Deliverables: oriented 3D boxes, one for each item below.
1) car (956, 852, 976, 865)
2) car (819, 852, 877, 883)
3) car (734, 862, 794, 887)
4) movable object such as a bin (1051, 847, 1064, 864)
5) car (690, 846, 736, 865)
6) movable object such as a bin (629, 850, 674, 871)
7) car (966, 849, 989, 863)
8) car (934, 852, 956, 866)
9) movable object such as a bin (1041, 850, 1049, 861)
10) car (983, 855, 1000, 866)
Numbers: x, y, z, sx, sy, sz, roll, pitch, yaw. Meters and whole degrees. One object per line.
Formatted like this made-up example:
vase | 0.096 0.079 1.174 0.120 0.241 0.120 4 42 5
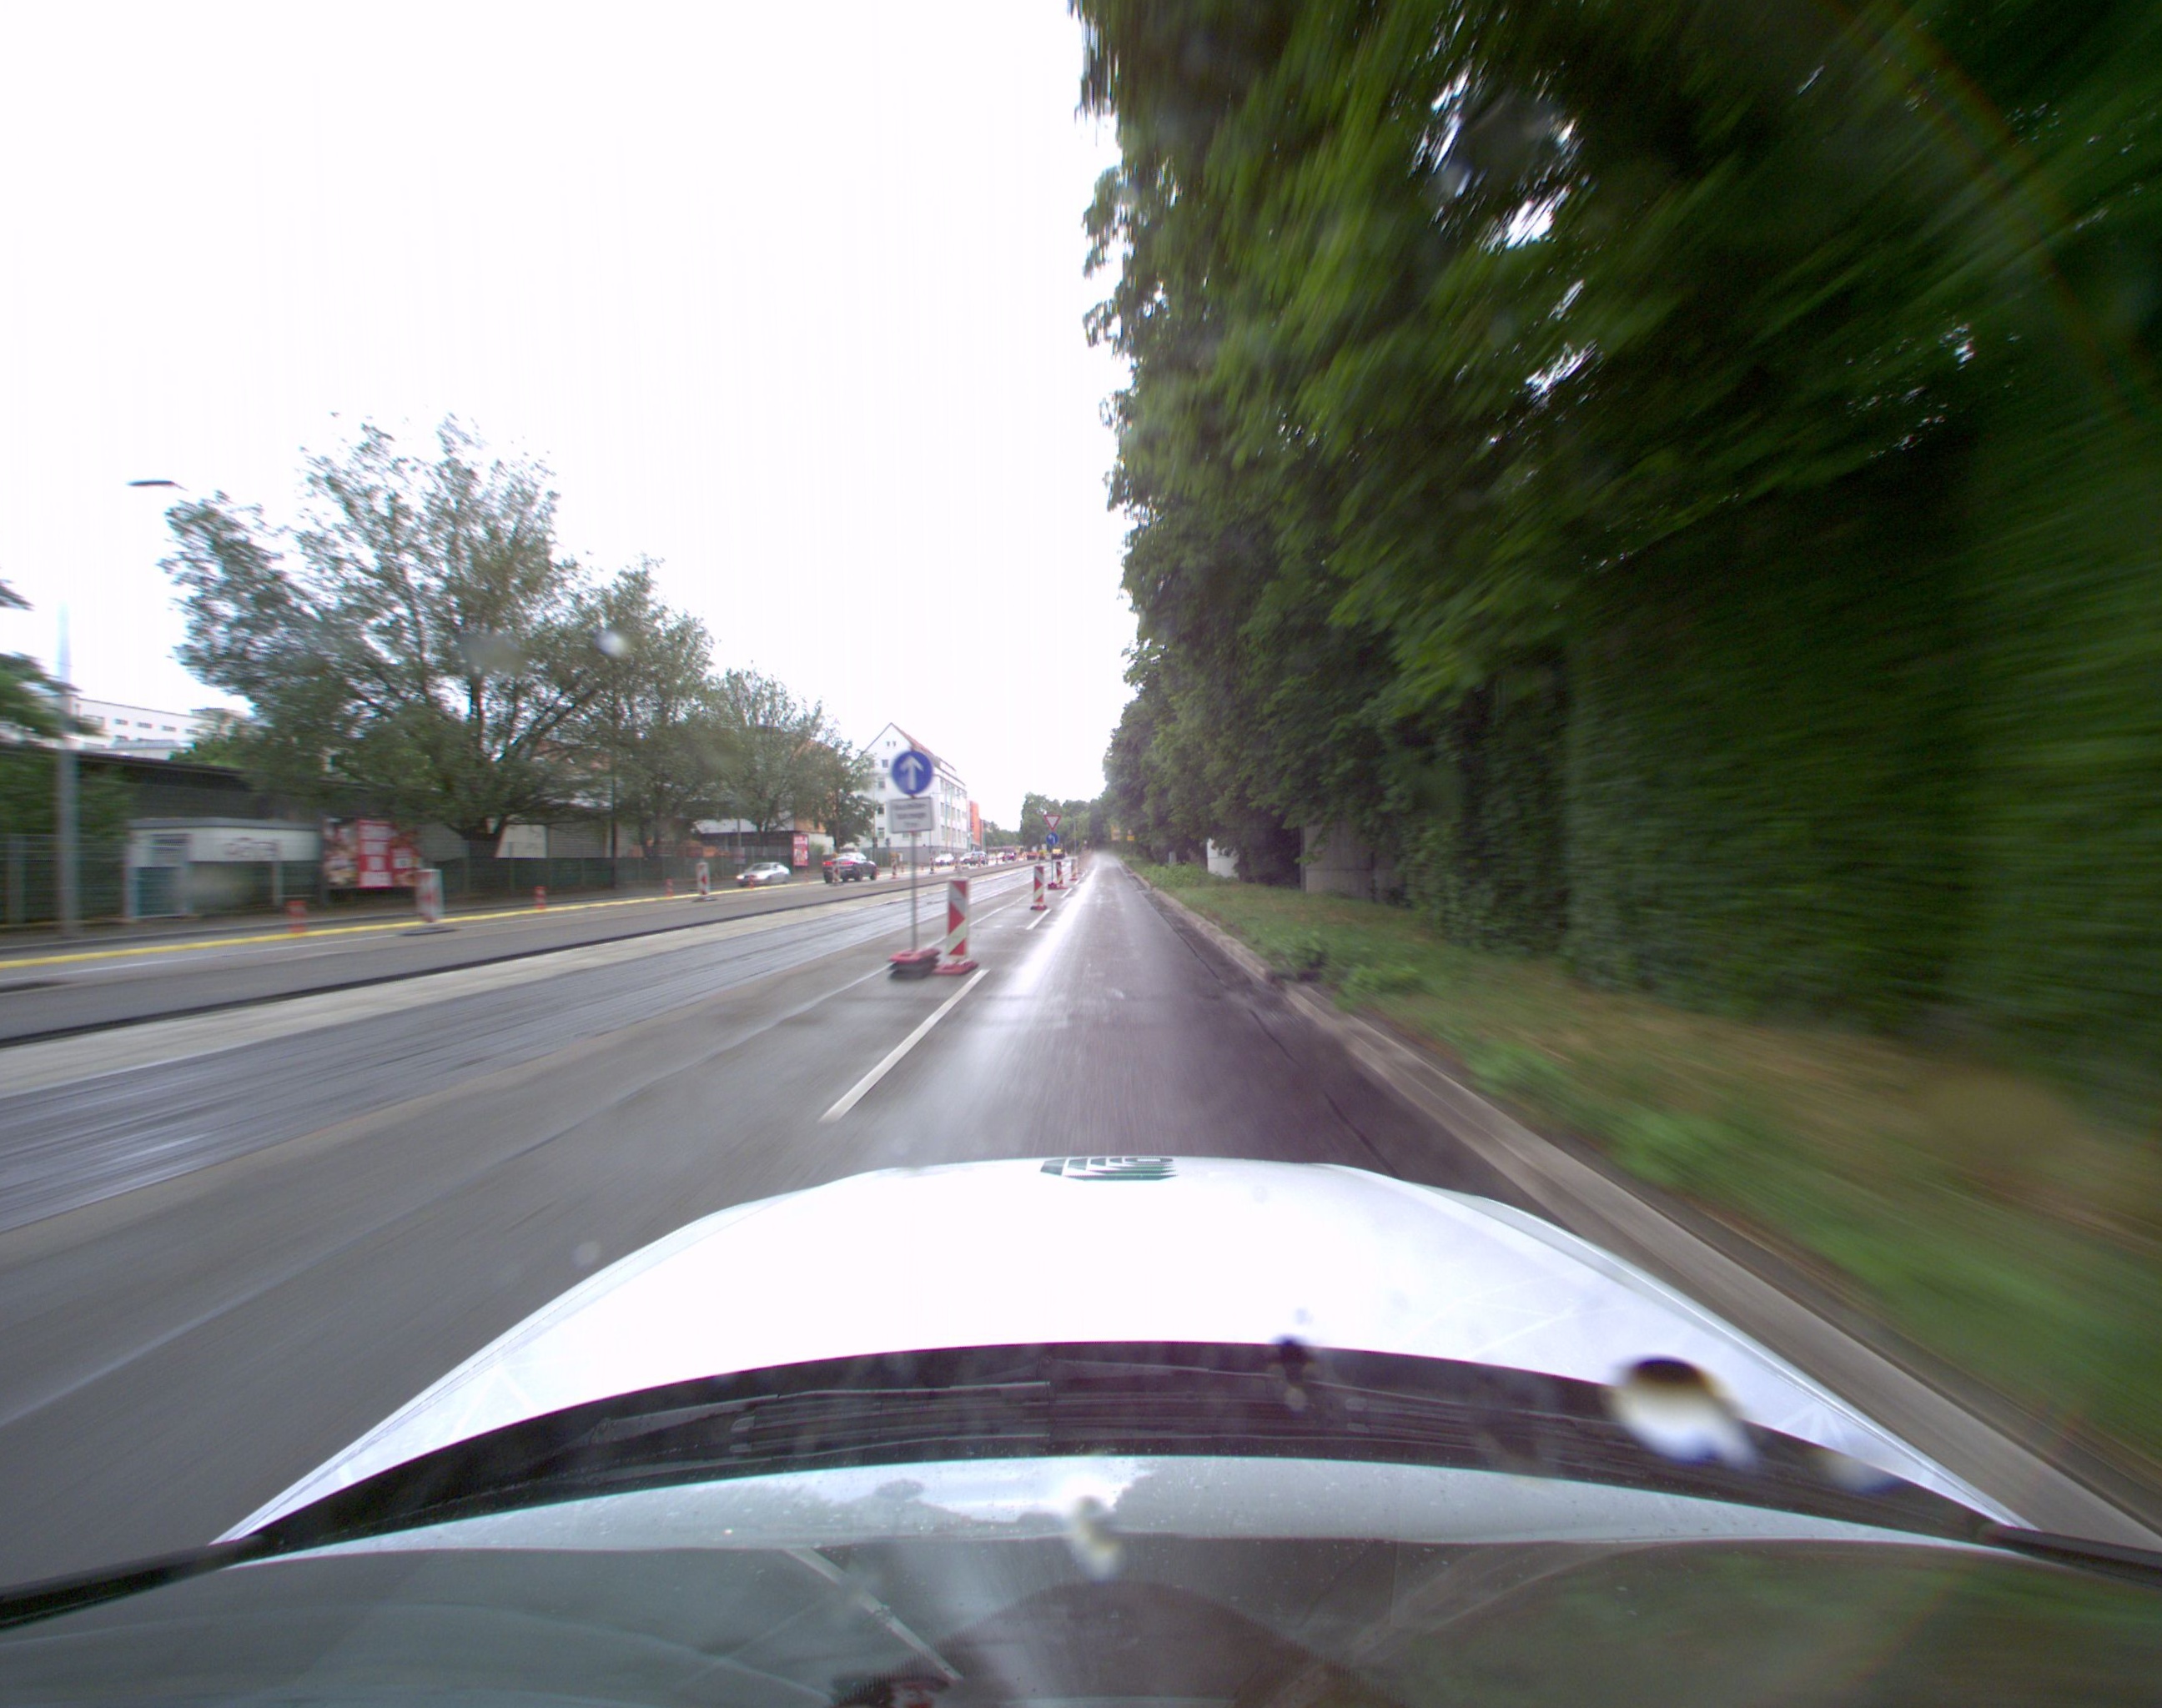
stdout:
car | -15.489 0.651 110.168 1.852 1.619 4.367 -4 0 2
car | -13.397 0.757 47.098 1.885 1.650 4.398 -1 0 2
car | -19.017 1.214 49.031 1.660 1.315 4.457 -4 0 2
movable object such as a bin | -3.913 0.212 136.445 1.895 2.609 5.384 -2 0 1
car | -31.630 0.118 69.928 3.971 1.527 2.013 -1 0 39
movable object such as a bin | -31.893 0.494 60.433 3.973 1.527 1.764 -1 0 44
car | -12.169 0.235 96.182 1.885 1.650 4.398 -1 0 2
car | -18.132 0.660 108.708 1.852 1.706 4.367 -4 0 2
movable object such as a bin | -5.692 0.284 127.995 1.079 1.644 2.439 -2 0 1
car | -13.449 0.947 122.362 1.852 1.475 3.734 -4 0 2
